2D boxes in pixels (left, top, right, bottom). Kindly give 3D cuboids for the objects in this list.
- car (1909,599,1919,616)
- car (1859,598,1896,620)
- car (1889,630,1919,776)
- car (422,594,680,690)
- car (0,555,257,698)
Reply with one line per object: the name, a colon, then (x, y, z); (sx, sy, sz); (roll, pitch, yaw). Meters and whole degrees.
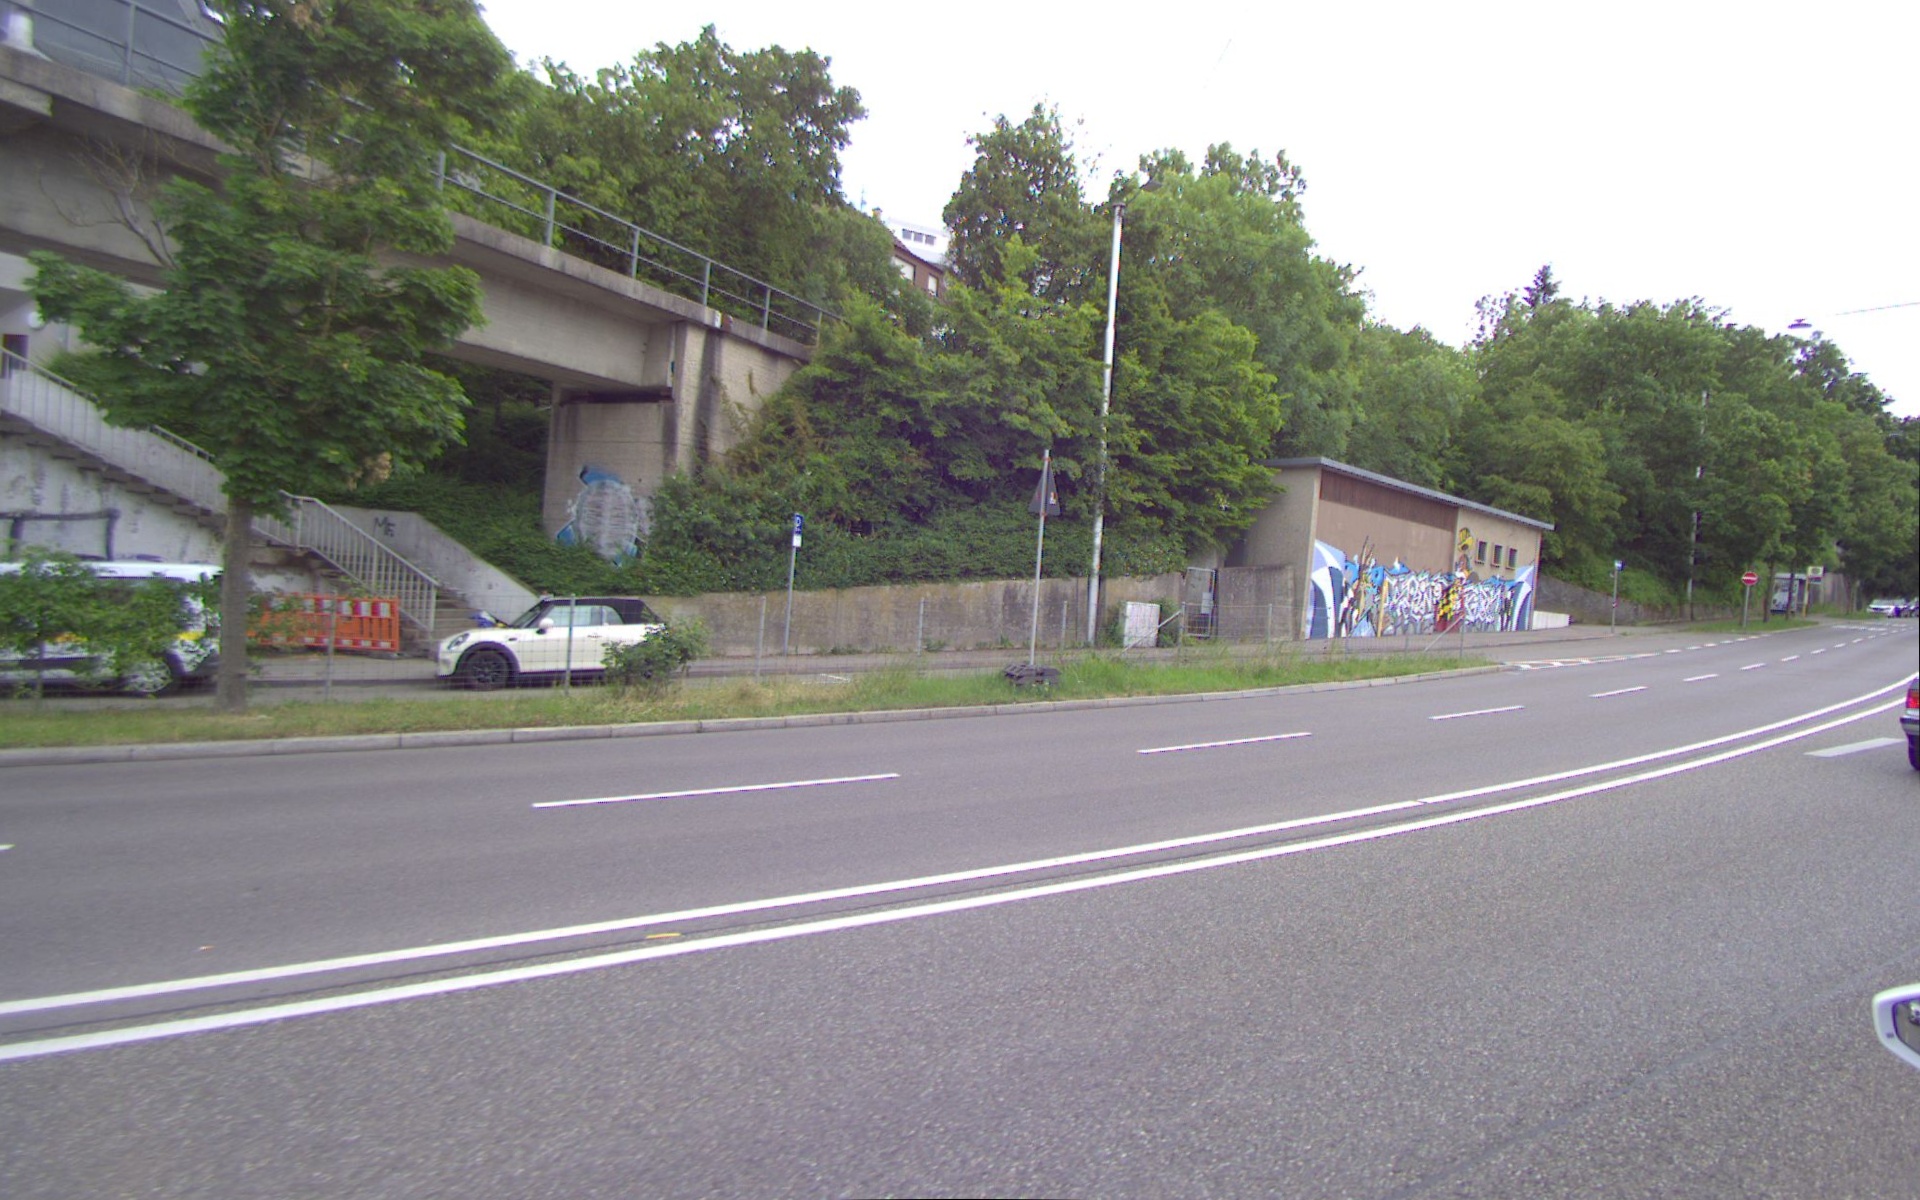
car: (96.352, 0.747, 100.252); (4.246, 1.615, 1.843); (0, 6, -42)
car: (79.122, 0.764, 86.588); (4.246, 1.693, 1.843); (0, 6, -42)
car: (11.437, 1.077, 10.436); (4.572, 1.401, 1.624); (3, -1, -34)
car: (-6.733, 0.673, 16.662); (3.753, 1.438, 1.760); (2, 0, -26)
car: (-12.411, 0.356, 13.636); (4.406, 1.808, 1.761); (1, -1, -26)
